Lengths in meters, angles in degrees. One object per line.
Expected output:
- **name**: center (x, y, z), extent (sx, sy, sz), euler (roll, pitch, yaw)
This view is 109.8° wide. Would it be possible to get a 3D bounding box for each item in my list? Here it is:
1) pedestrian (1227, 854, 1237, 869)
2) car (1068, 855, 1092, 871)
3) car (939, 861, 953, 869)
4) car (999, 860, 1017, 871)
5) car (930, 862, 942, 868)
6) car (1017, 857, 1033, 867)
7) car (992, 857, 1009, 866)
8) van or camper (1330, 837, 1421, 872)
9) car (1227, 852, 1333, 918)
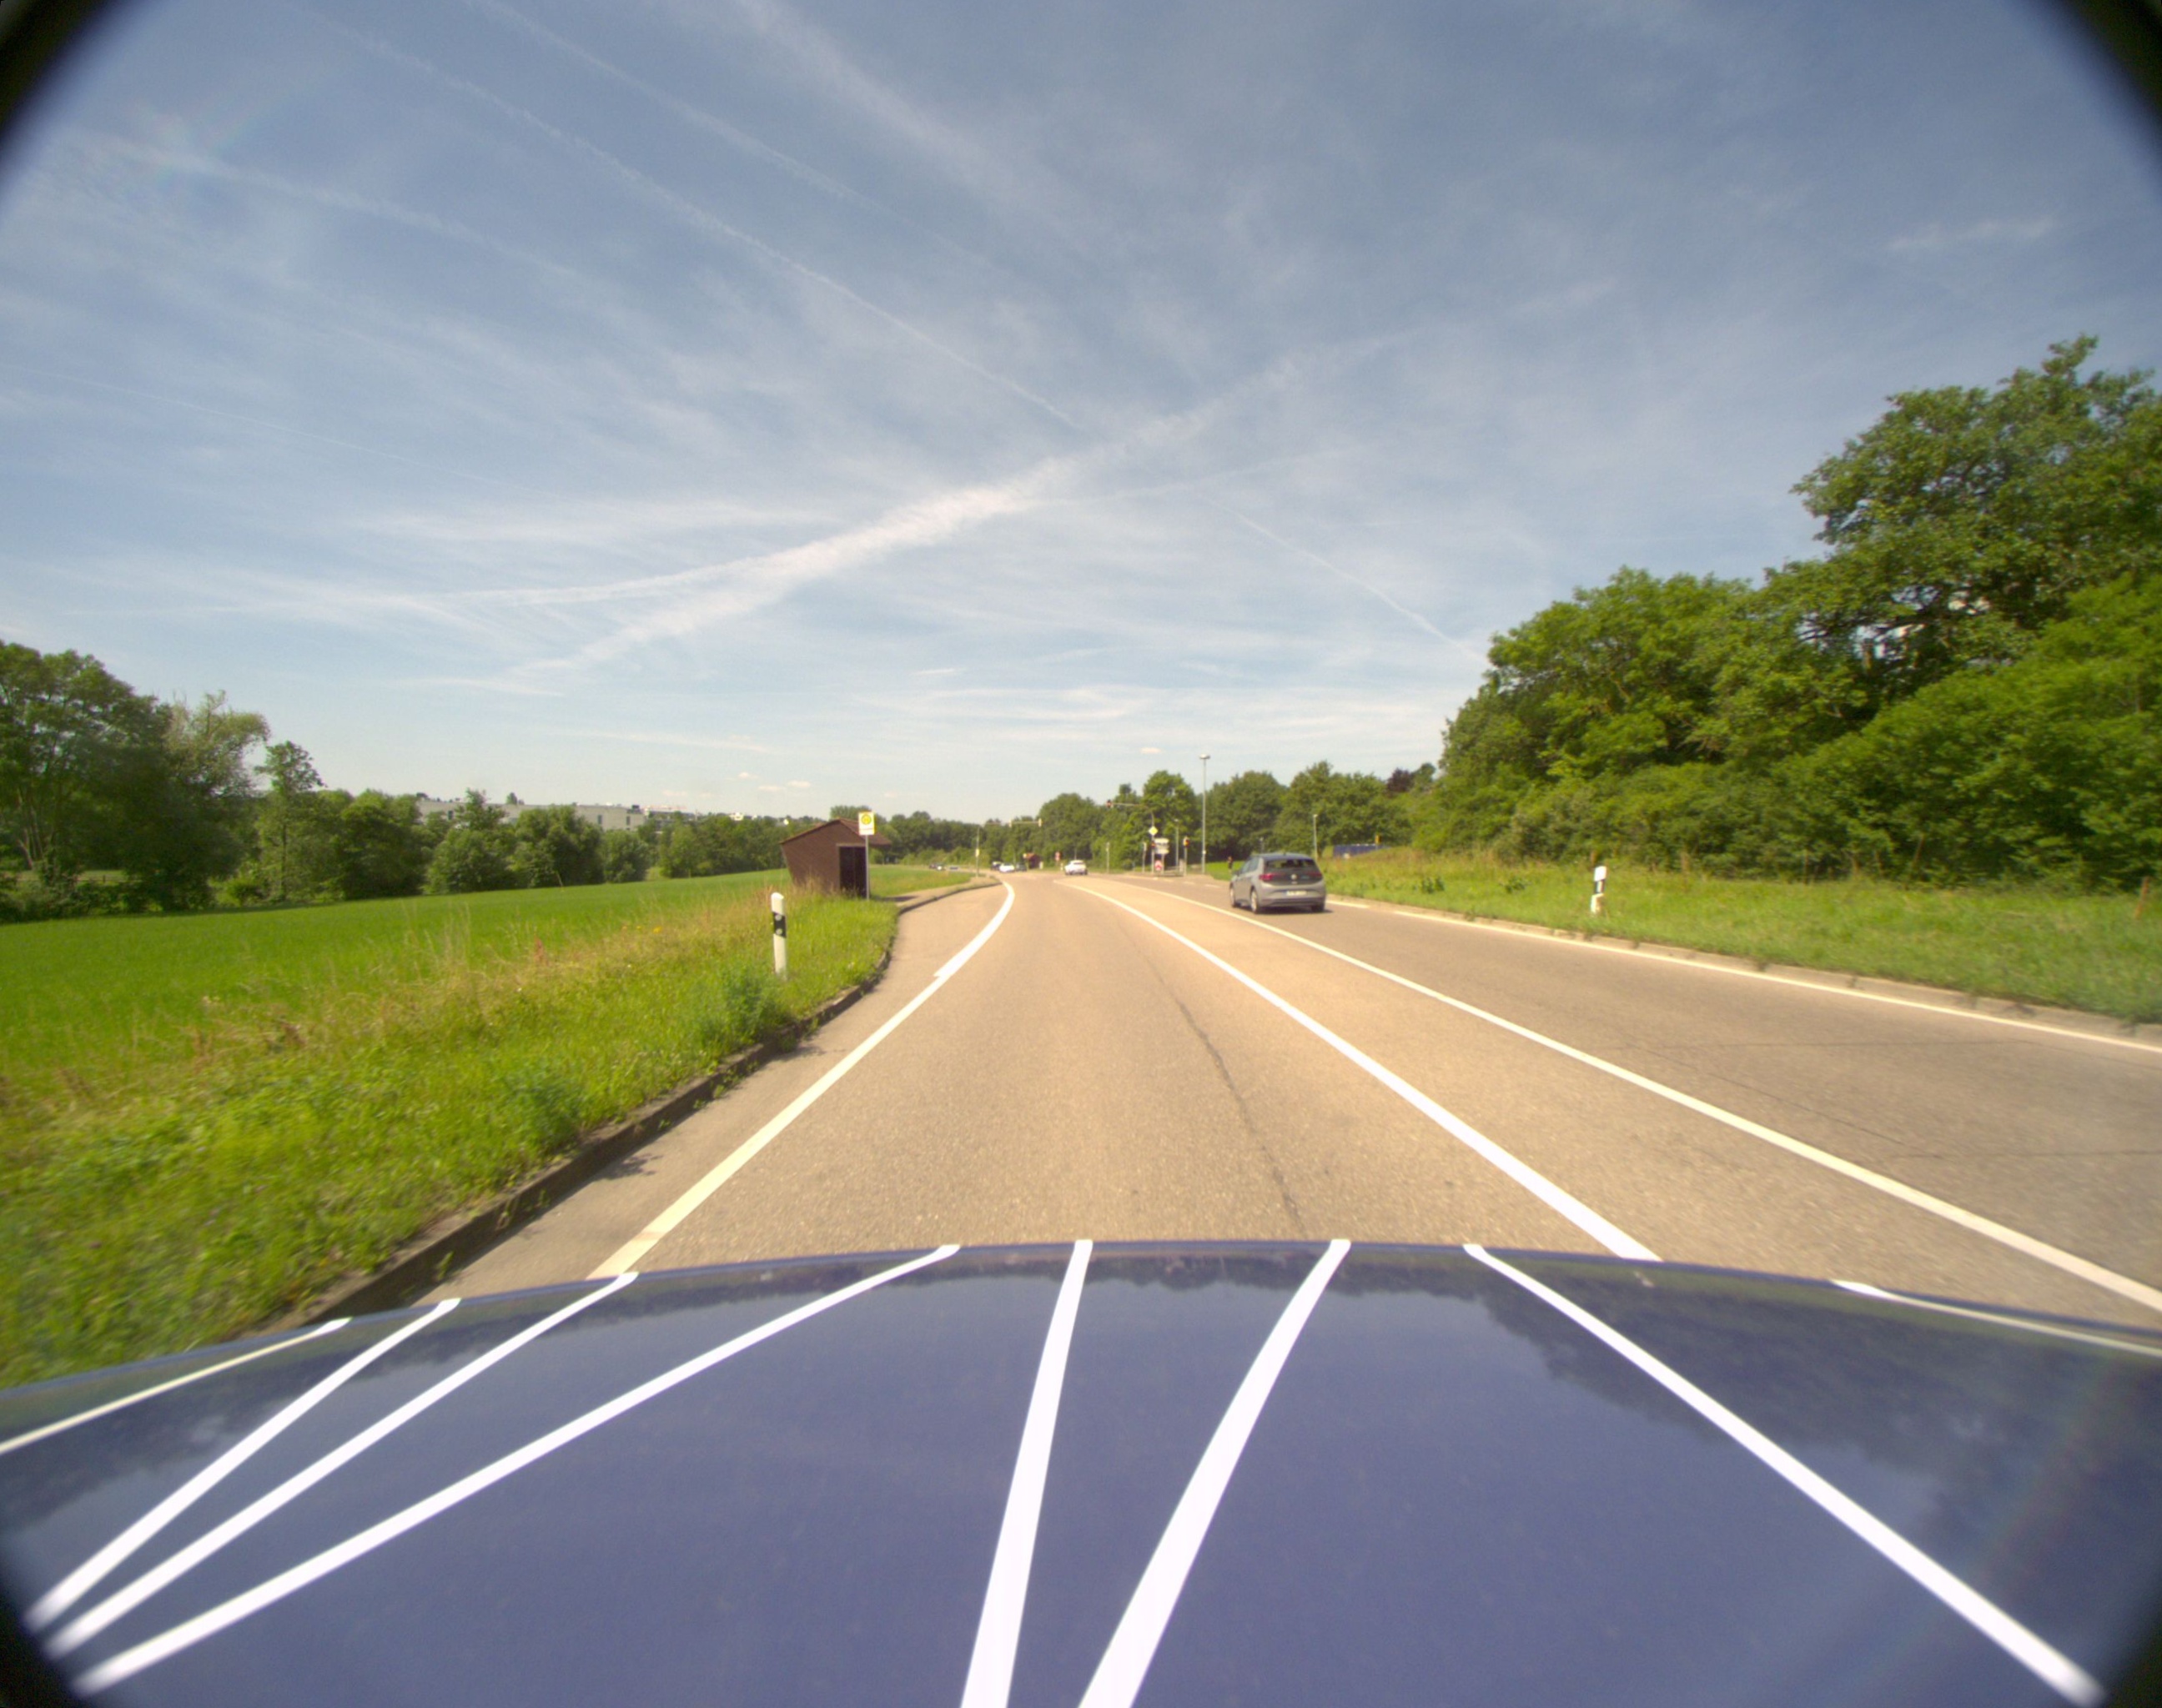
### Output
- **pedestrian**: center (18.091, 0.942, 90.834), extent (0.920, 1.726, 0.900), euler (-2, 1, 26)
- **car**: center (-0.171, 0.958, 82.388), extent (1.943, 1.539, 4.624), euler (-2, 0, -8)
- **car**: center (-29.597, 2.351, 166.528), extent (2.002, 1.575, 3.993), euler (-3, 0, -24)
- **car**: center (-11.129, 1.811, 115.986), extent (2.001, 1.575, 3.995), euler (-3, 0, -16)
- **car**: center (-37.014, 2.776, 194.075), extent (1.799, 1.465, 4.301), euler (-3, 0, -29)
- **car**: center (-9.133, 1.349, 124.484), extent (1.713, 1.474, 3.827), euler (-2, 0, -17)
- **car**: center (-15.169, 1.492, 143.029), extent (1.982, 1.553, 4.181), euler (-3, 0, -23)
- **van or camper**: center (26.623, 0.067, 68.888), extent (7.240, 2.896, 2.248), euler (2, -2, 2)
- **car**: center (5.237, 0.750, 20.577), extent (1.759, 1.525, 4.228), euler (-2, 0, 1)
